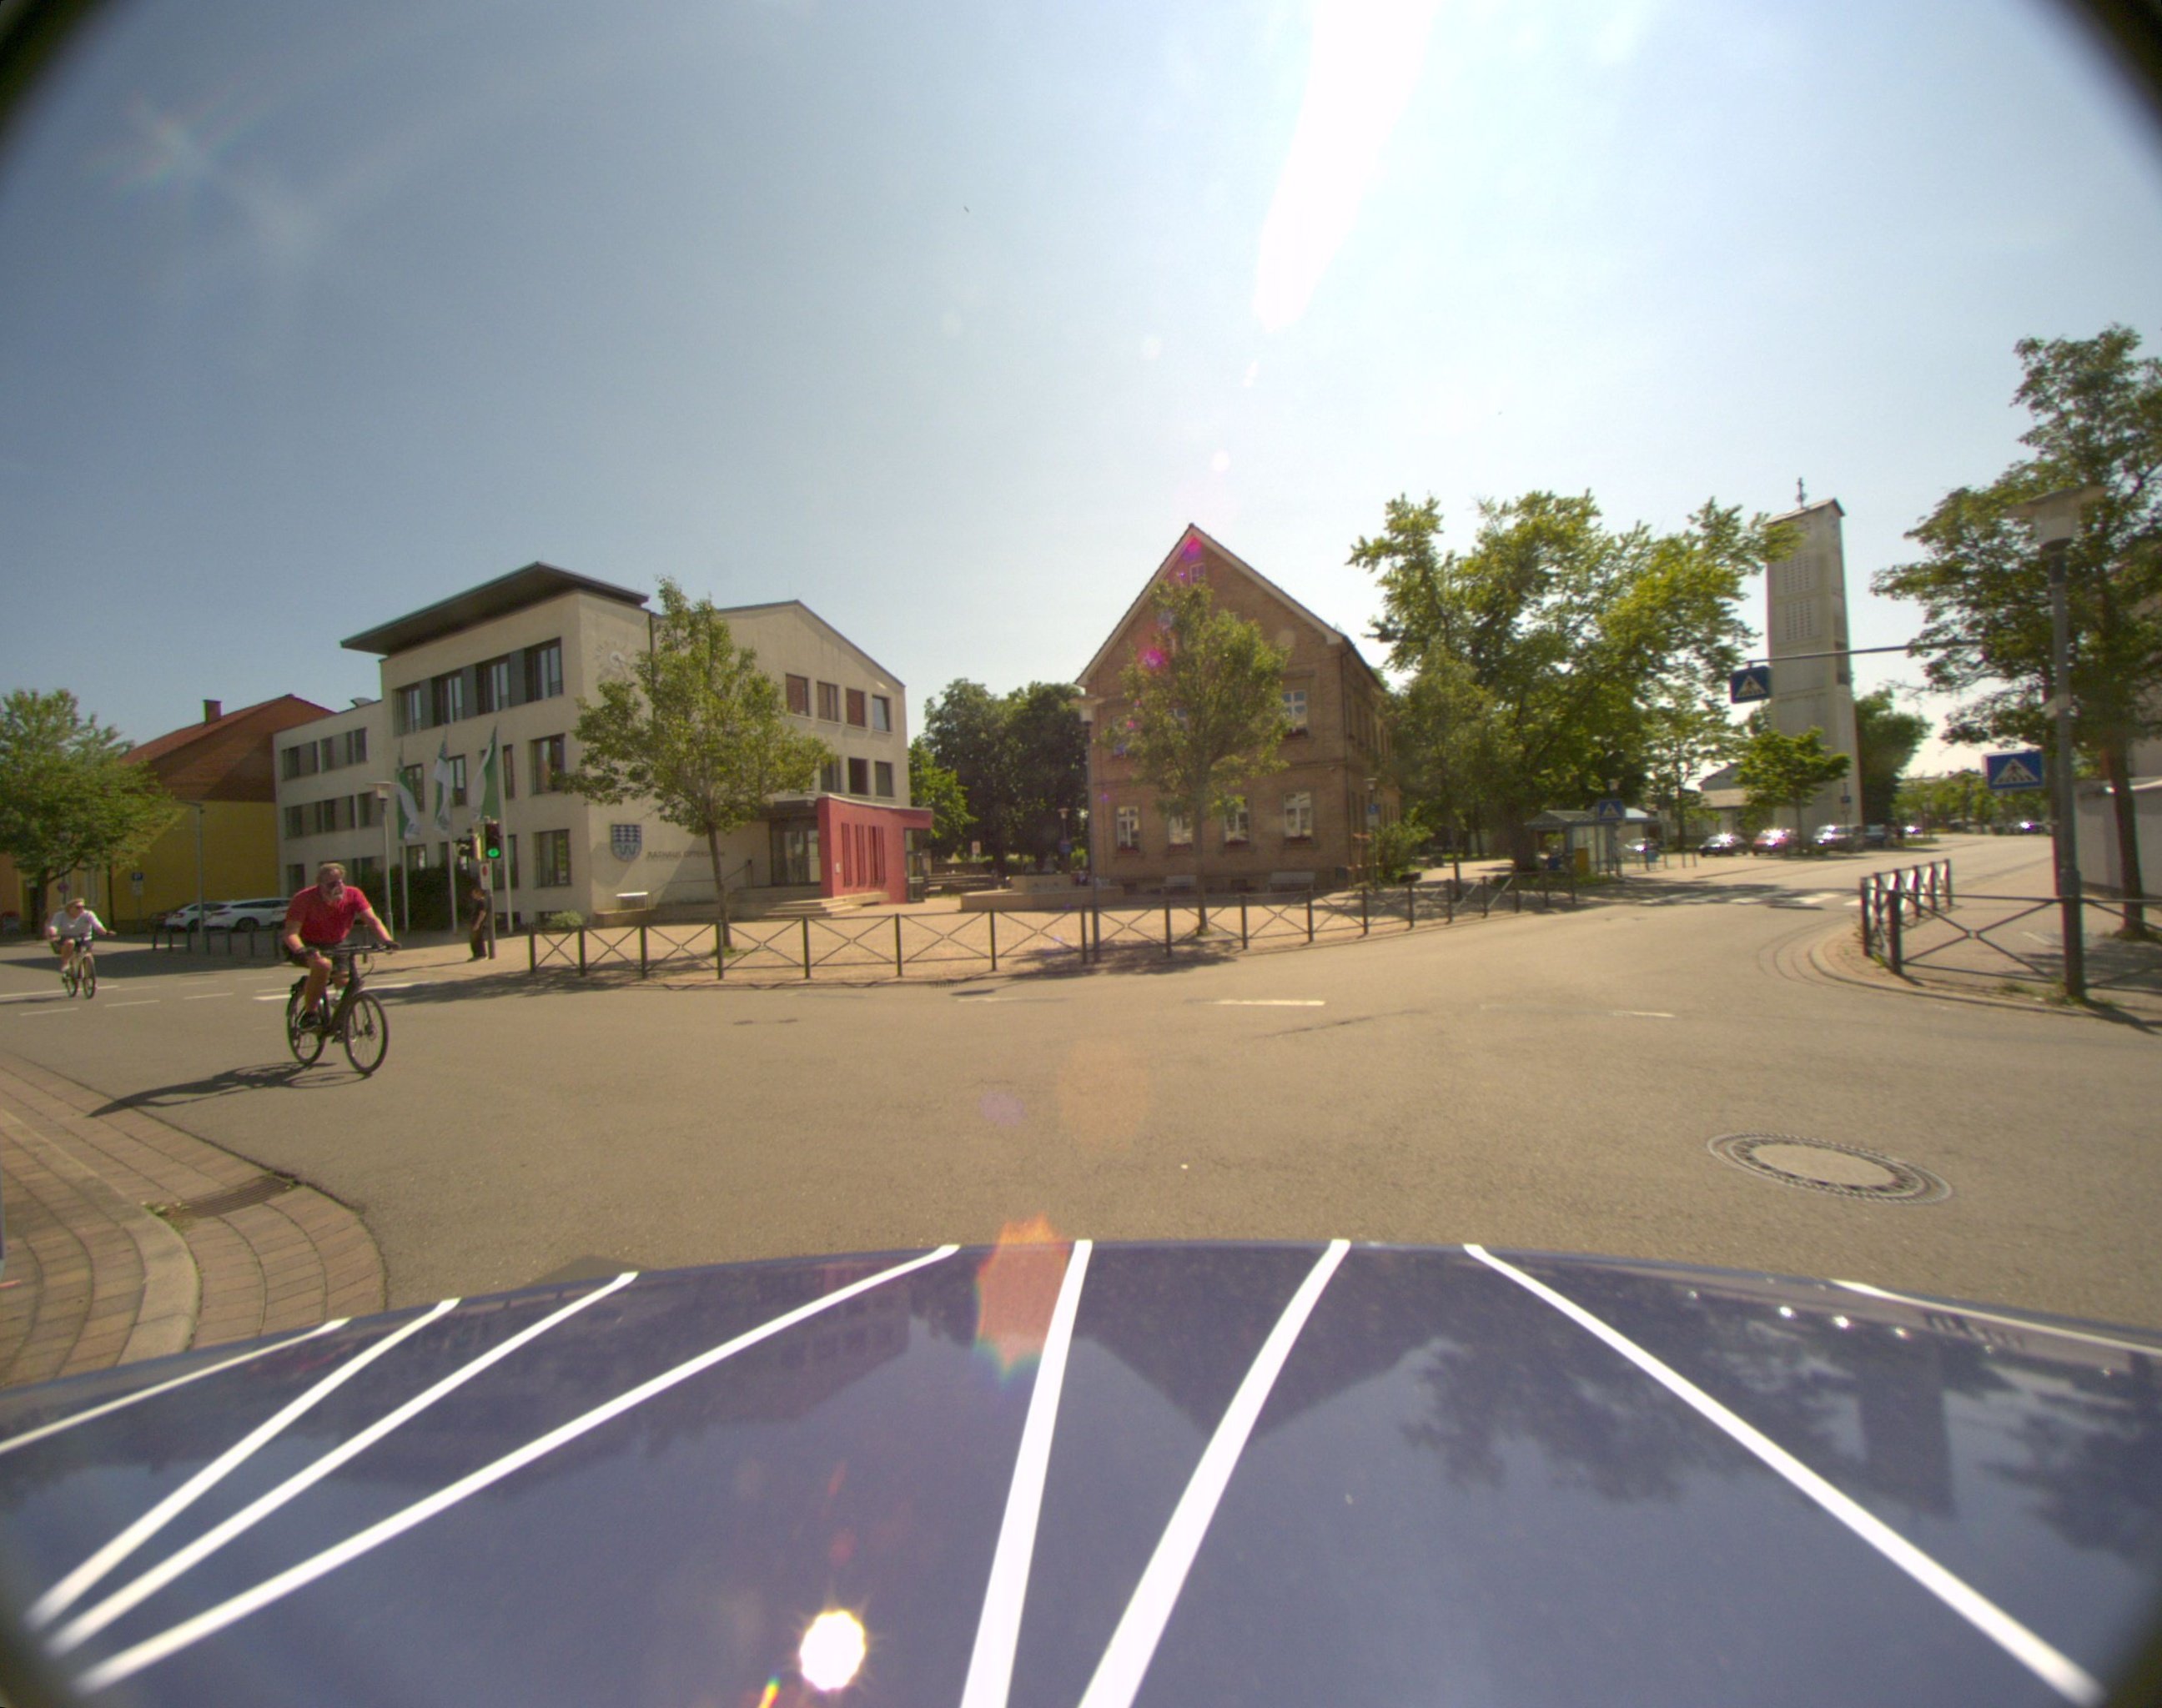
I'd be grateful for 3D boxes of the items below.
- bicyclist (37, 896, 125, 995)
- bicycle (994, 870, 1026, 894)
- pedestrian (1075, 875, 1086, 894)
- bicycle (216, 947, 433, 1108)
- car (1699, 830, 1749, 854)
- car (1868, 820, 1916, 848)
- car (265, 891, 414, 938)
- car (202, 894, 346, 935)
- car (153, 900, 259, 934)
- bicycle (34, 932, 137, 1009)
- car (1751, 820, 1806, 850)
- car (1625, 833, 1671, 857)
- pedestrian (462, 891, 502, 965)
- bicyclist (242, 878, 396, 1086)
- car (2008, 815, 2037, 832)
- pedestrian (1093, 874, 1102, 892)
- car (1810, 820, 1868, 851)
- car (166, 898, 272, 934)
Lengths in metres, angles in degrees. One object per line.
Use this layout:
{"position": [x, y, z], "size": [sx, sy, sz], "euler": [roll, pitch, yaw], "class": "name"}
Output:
{"position": [-17.064, 1.530, 12.970], "size": [0.876, 1.572, 0.704], "euler": [-2, 1, 26], "class": "bicyclist"}
{"position": [-3.498, 1.388, 37.677], "size": [0.579, 1.000, 1.957], "euler": [-3, 2, 27], "class": "bicycle"}
{"position": [-0.031, 1.318, 33.109], "size": [0.366, 0.812, 0.362], "euler": [-2, -1, 12], "class": "pedestrian"}
{"position": [-6.730, 1.458, 6.748], "size": [1.966, 1.182, 0.740], "euler": [-3, -2, 25], "class": "bicycle"}
{"position": [43.456, -0.817, 51.348], "size": [3.785, 1.459, 1.647], "euler": [-2, -1, -35], "class": "car"}
{"position": [51.764, -1.273, 48.466], "size": [4.007, 1.635, 1.777], "euler": [-2, -1, -39], "class": "car"}
{"position": [-30.719, 2.458, 31.610], "size": [1.744, 1.538, 4.006], "euler": [-3, 1, 28], "class": "car"}
{"position": [-37.830, 2.801, 35.774], "size": [1.509, 1.470, 4.334], "euler": [-2, 1, 29], "class": "car"}
{"position": [-44.595, 3.178, 38.786], "size": [1.371, 1.393, 3.265], "euler": [-3, 1, 28], "class": "car"}
{"position": [-16.908, 1.940, 12.901], "size": [1.795, 1.182, 0.691], "euler": [-2, -1, 25], "class": "bicycle"}
{"position": [45.453, -1.221, 49.505], "size": [4.007, 1.783, 1.777], "euler": [-2, -1, -35], "class": "car"}
{"position": [40.892, -0.669, 54.747], "size": [4.008, 1.607, 1.995], "euler": [-2, 0, -44], "class": "car"}
{"position": [-13.533, 1.654, 17.172], "size": [0.551, 1.609, 0.556], "euler": [-2, 1, -27], "class": "pedestrian"}
{"position": [-6.815, 1.092, 6.812], "size": [0.758, 1.707, 0.704], "euler": [-2, 1, 26], "class": "bicyclist"}
{"position": [99.081, -3.204, 79.976], "size": [4.008, 1.681, 1.777], "euler": [-1, -1, -40], "class": "car"}
{"position": [0.730, 1.251, 32.798], "size": [0.289, 0.728, 0.358], "euler": [-2, -1, 12], "class": "pedestrian"}
{"position": [46.952, -1.141, 47.042], "size": [4.006, 1.783, 1.777], "euler": [-2, 1, -34], "class": "car"}
{"position": [-42.686, 3.068, 37.689], "size": [1.638, 1.442, 3.146], "euler": [-3, 1, 30], "class": "car"}
